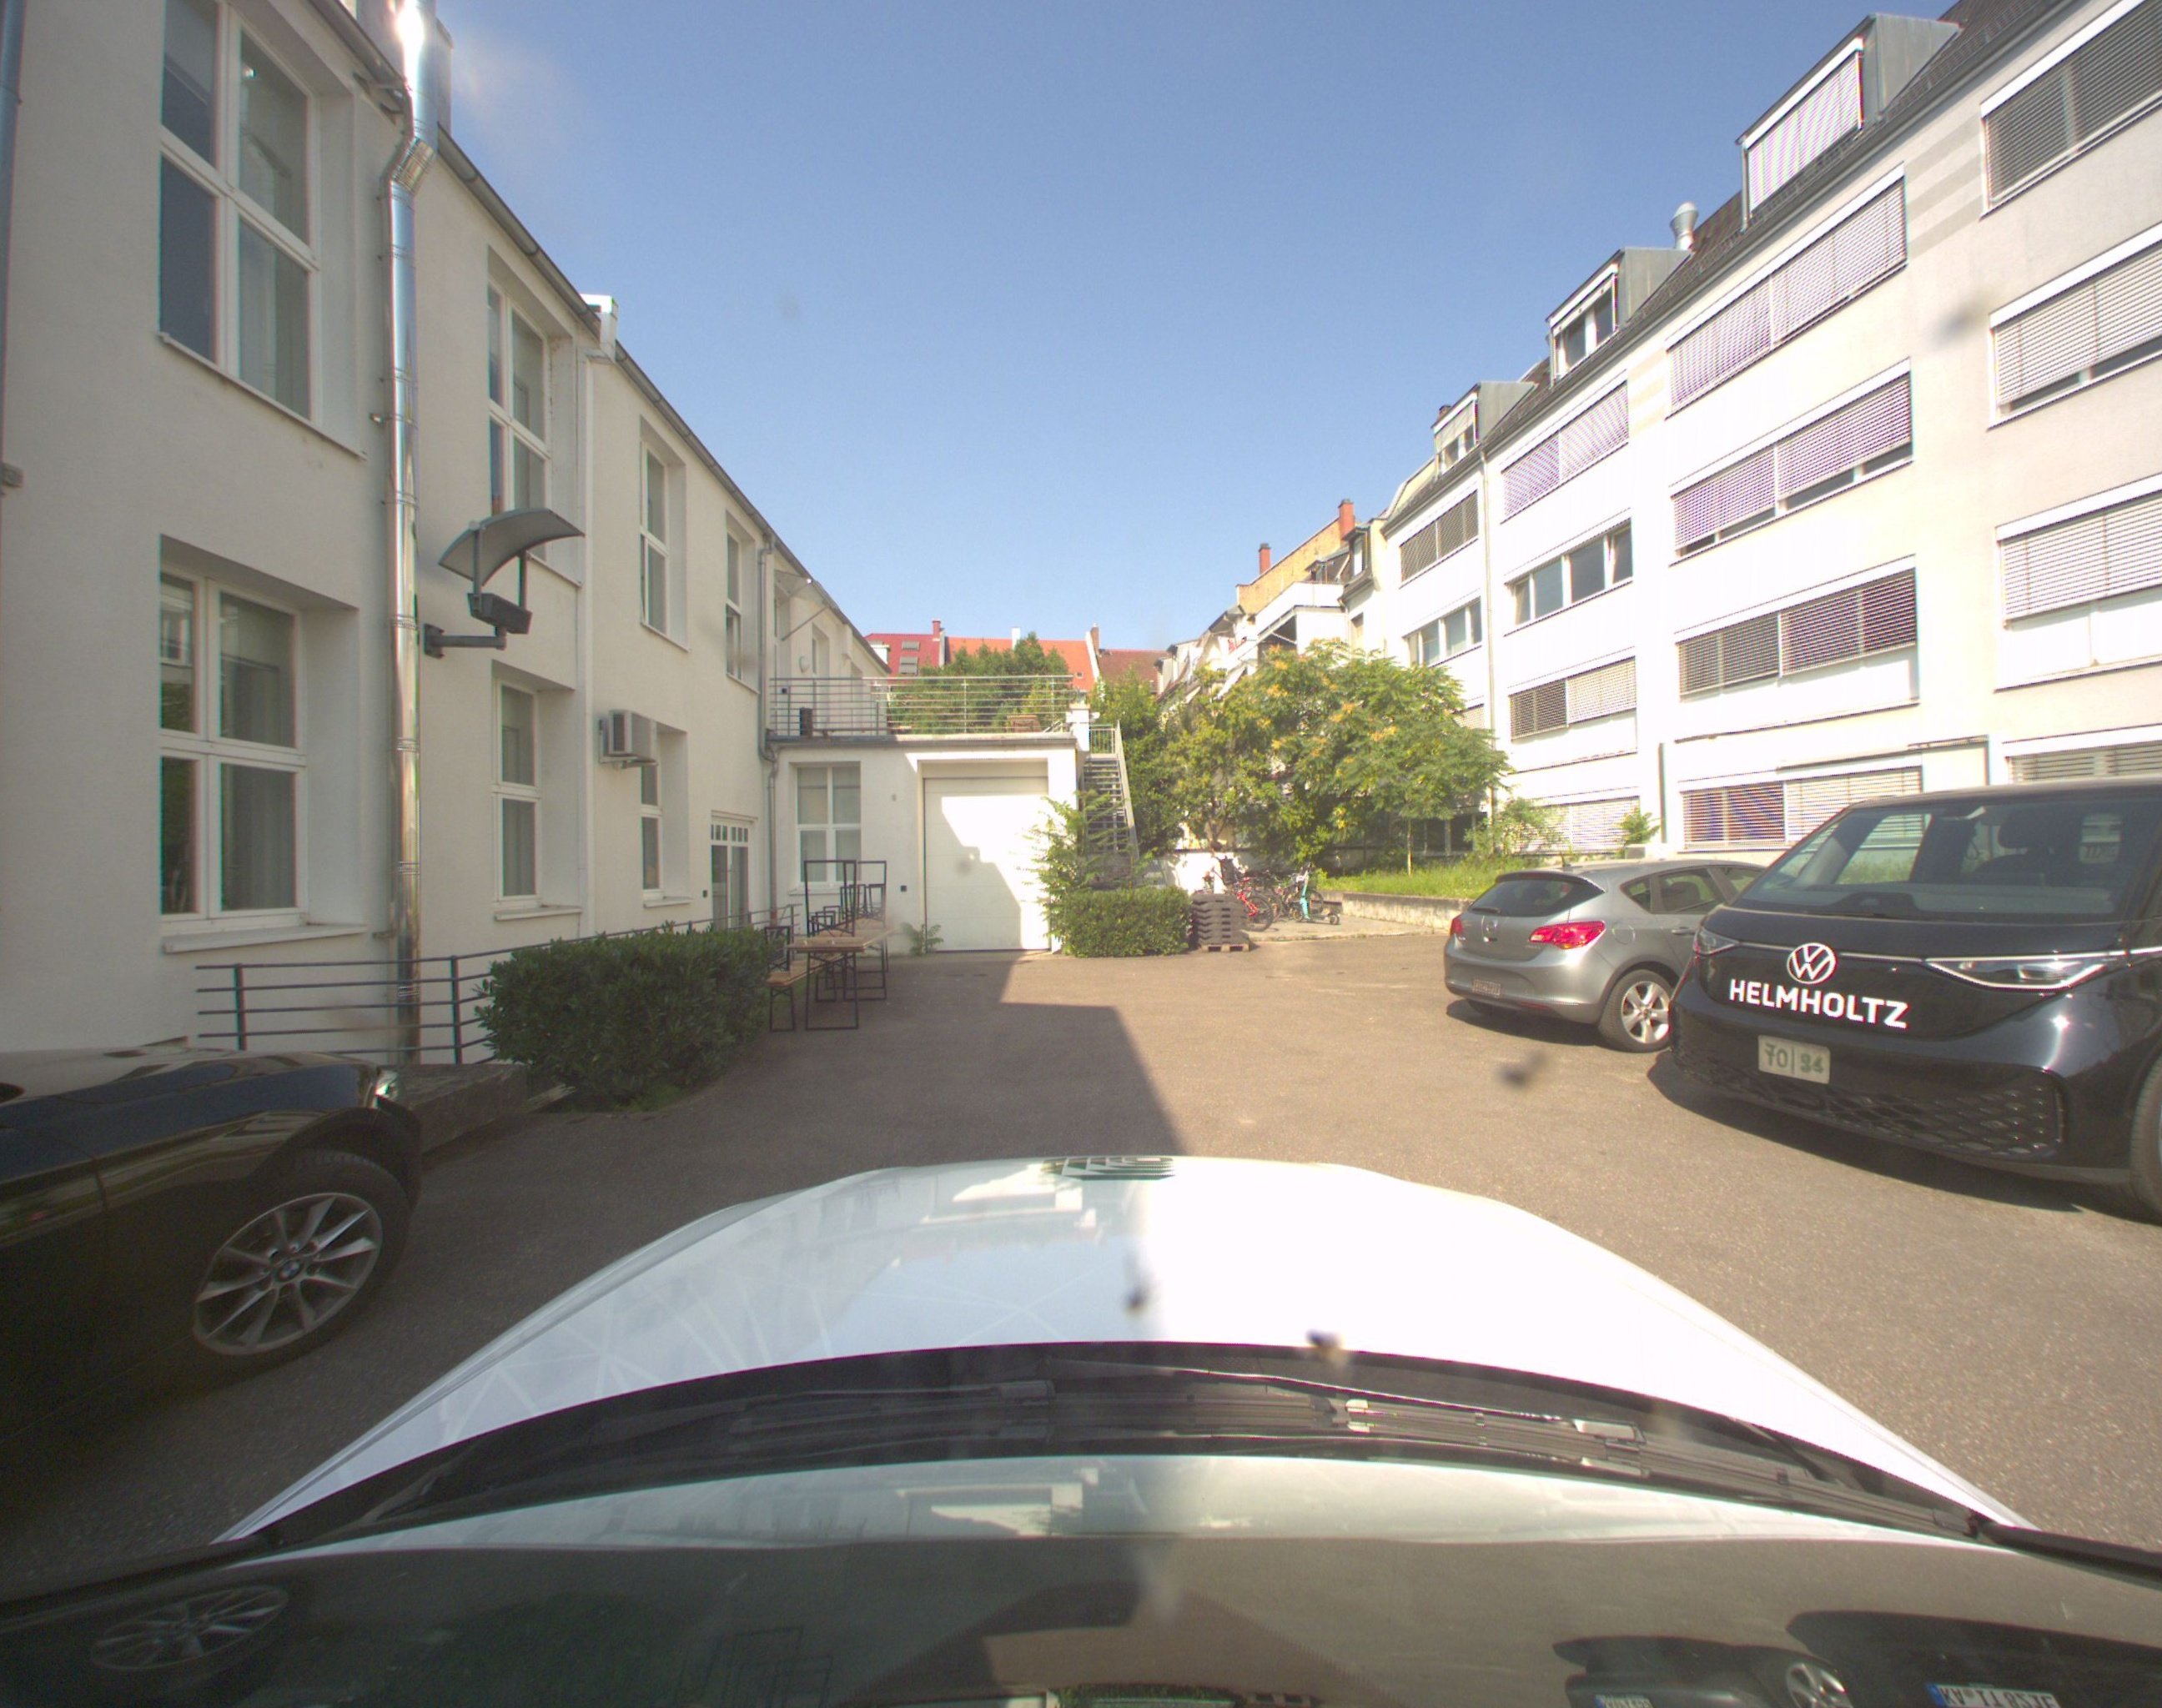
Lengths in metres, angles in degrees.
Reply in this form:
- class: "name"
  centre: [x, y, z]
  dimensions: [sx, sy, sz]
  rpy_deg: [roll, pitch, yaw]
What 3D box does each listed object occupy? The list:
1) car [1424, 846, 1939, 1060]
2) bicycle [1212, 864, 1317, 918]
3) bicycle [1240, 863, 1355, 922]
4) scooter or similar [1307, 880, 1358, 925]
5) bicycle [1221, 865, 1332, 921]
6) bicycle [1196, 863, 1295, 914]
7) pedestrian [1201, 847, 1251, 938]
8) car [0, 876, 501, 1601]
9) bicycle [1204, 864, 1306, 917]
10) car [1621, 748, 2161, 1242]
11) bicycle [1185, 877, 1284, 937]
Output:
- class: "car"
  centre: [5.279, 0.720, 7.269]
  dimensions: [3.904, 1.466, 1.654]
  rpy_deg: [-1, 0, -16]
- class: "bicycle"
  centre: [4.362, 0.863, 19.411]
  dimensions: [2.405, 1.246, 0.526]
  rpy_deg: [0, -1, -3]
- class: "bicycle"
  centre: [4.763, 0.838, 17.967]
  dimensions: [2.405, 1.246, 0.526]
  rpy_deg: [0, -1, -3]
- class: "scooter or similar"
  centre: [5.390, 1.021, 17.469]
  dimensions: [0.362, 0.924, 0.988]
  rpy_deg: [0, -1, -40]
- class: "bicycle"
  centre: [4.456, 0.877, 18.618]
  dimensions: [2.405, 1.246, 0.526]
  rpy_deg: [0, -1, -3]
- class: "bicycle"
  centre: [4.175, 0.863, 20.733]
  dimensions: [2.405, 1.246, 0.526]
  rpy_deg: [0, -1, -3]
- class: "pedestrian"
  centre: [2.912, 0.752, 16.329]
  dimensions: [0.603, 1.772, 0.866]
  rpy_deg: [-1, -1, 43]
- class: "car"
  centre: [-3.030, 0.790, 1.098]
  dimensions: [1.790, 1.428, 4.129]
  rpy_deg: [0, -1, -5]
- class: "bicycle"
  centre: [4.258, 0.882, 20.022]
  dimensions: [2.405, 1.246, 0.526]
  rpy_deg: [0, -1, -3]
- class: "car"
  centre: [5.611, 0.483, 4.478]
  dimensions: [4.338, 1.859, 1.907]
  rpy_deg: [-1, 0, -13]
- class: "bicycle"
  centre: [3.097, 1.055, 16.603]
  dimensions: [1.968, 1.143, 0.493]
  rpy_deg: [-2, 0, 41]
